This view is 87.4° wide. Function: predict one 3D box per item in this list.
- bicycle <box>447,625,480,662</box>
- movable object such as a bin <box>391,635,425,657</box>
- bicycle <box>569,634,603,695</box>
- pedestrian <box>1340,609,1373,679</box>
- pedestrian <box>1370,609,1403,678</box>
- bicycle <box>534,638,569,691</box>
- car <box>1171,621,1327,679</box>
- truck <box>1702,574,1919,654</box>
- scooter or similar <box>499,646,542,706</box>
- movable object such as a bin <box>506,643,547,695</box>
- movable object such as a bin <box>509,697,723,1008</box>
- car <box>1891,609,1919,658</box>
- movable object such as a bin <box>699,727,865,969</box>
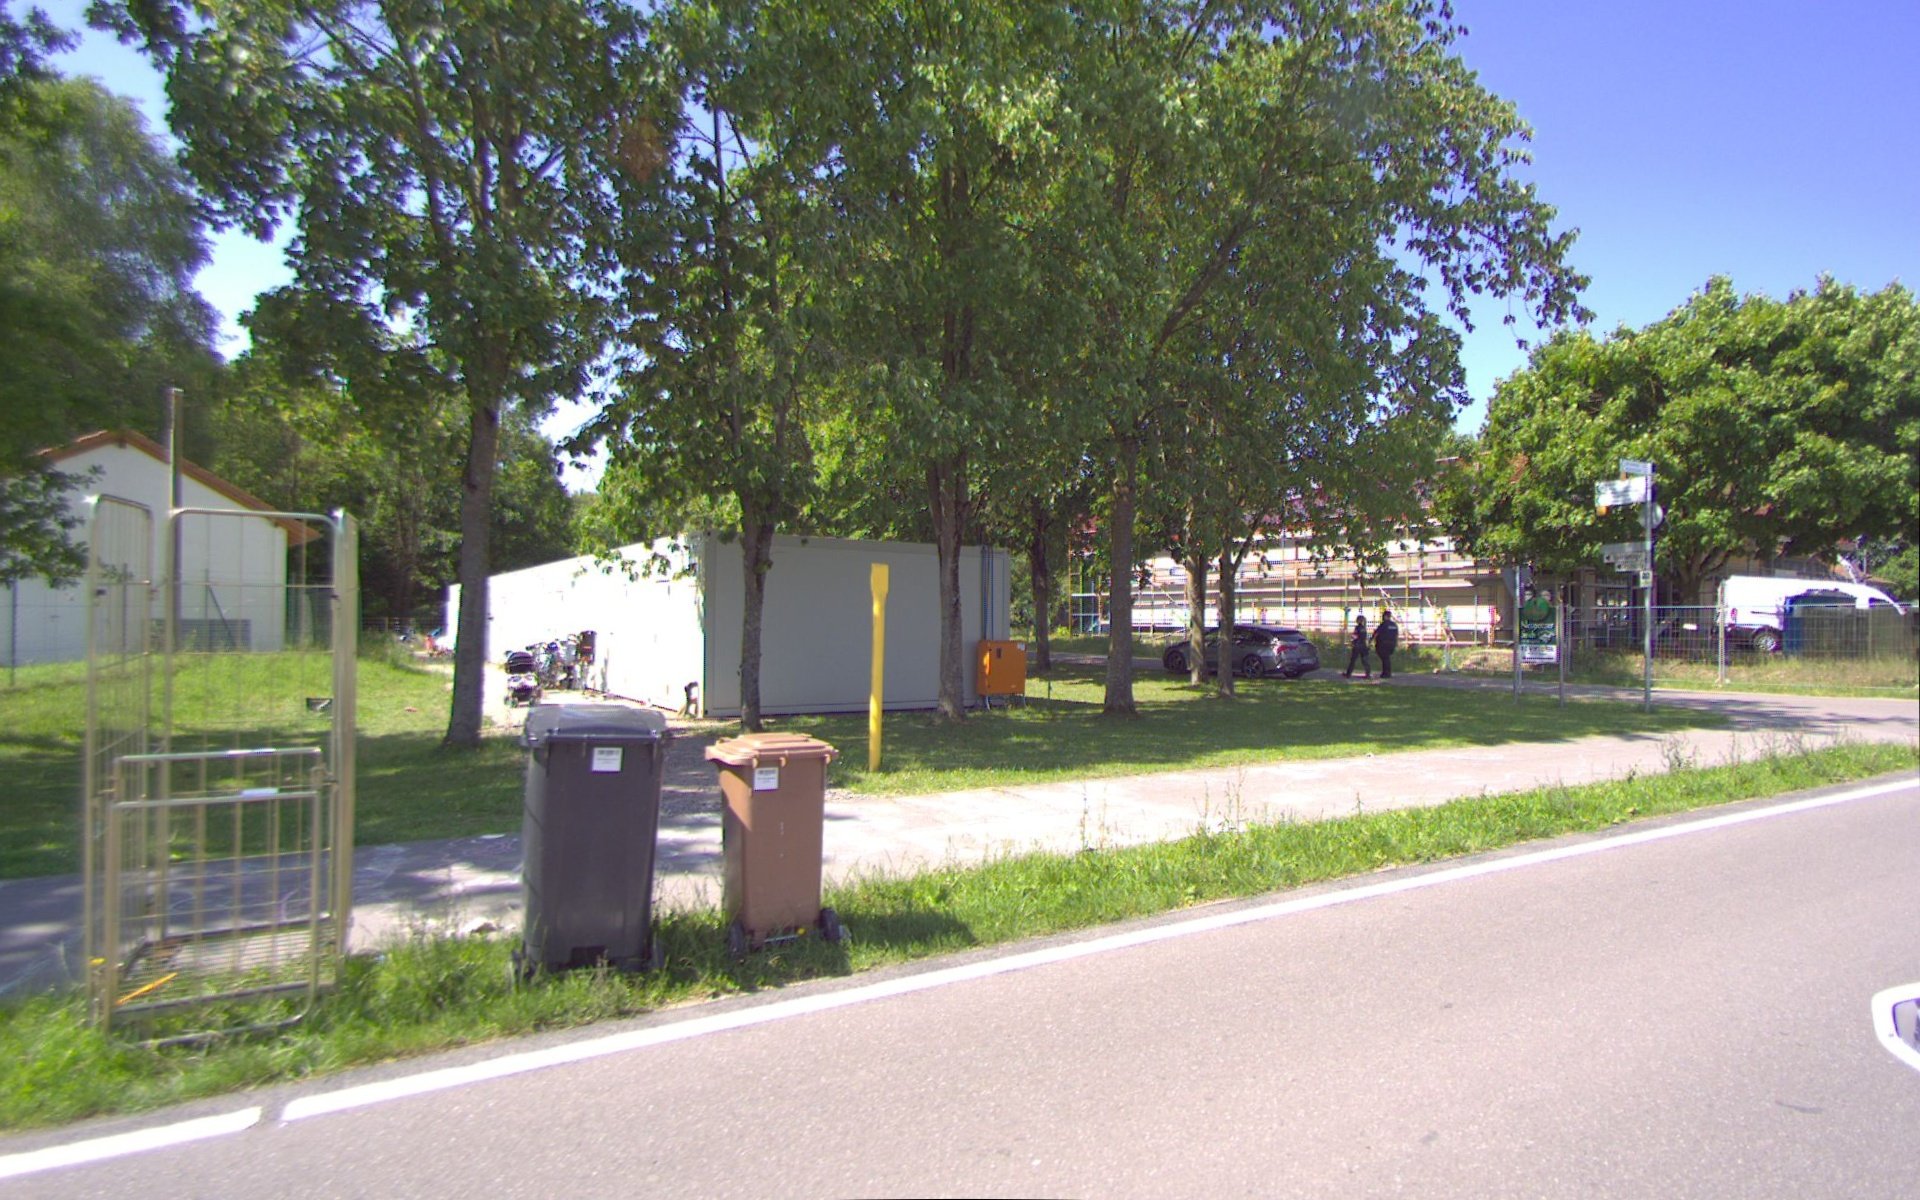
[{"bbox_3d":[-18.479,1.592,37.366,0.722,1.327,3.335,1,-2,-33],"label":"bicycle"},{"bbox_3d":[-23.281,1.915,42.378,1.154,0.898,1.543,1,-2,-33],"label":"movable object such as a bin"},{"bbox_3d":[-7.791,1.321,20.903,0.419,1.229,1.233,1,-2,-32],"label":"bicycle"},{"bbox_3d":[10.273,1.131,26.037,0.582,1.774,0.598,1,-1,-39],"label":"pedestrian"},{"bbox_3d":[11.134,1.130,26.206,0.582,1.774,0.598,1,-1,-39],"label":"pedestrian"},{"bbox_3d":[-8.853,1.381,21.734,0.500,1.096,1.234,1,-2,-31],"label":"bicycle"},{"bbox_3d":[7.677,1.291,26.931,1.743,1.417,3.772,1,-2,-37],"label":"car"},{"bbox_3d":[28.631,0.453,33.596,5.818,2.516,1.999,1,-1,23],"label":"truck"},{"bbox_3d":[-7.834,1.344,17.908,0.529,1.010,0.888,1,-2,-35],"label":"scooter or similar"},{"bbox_3d":[-8.964,1.409,20.750,0.657,1.027,0.690,1,-2,-34],"label":"movable object such as a bin"},{"bbox_3d":[-1.384,0.938,4.033,0.737,1.037,0.697,1,-1,-23],"label":"movable object such as a bin"},{"bbox_3d":[38.432,1.309,39.227,4.279,1.862,1.960,1,0,-31],"label":"car"},{"bbox_3d":[-0.788,1.033,4.379,0.605,0.888,0.561,1,-1,-23],"label":"movable object such as a bin"}]
